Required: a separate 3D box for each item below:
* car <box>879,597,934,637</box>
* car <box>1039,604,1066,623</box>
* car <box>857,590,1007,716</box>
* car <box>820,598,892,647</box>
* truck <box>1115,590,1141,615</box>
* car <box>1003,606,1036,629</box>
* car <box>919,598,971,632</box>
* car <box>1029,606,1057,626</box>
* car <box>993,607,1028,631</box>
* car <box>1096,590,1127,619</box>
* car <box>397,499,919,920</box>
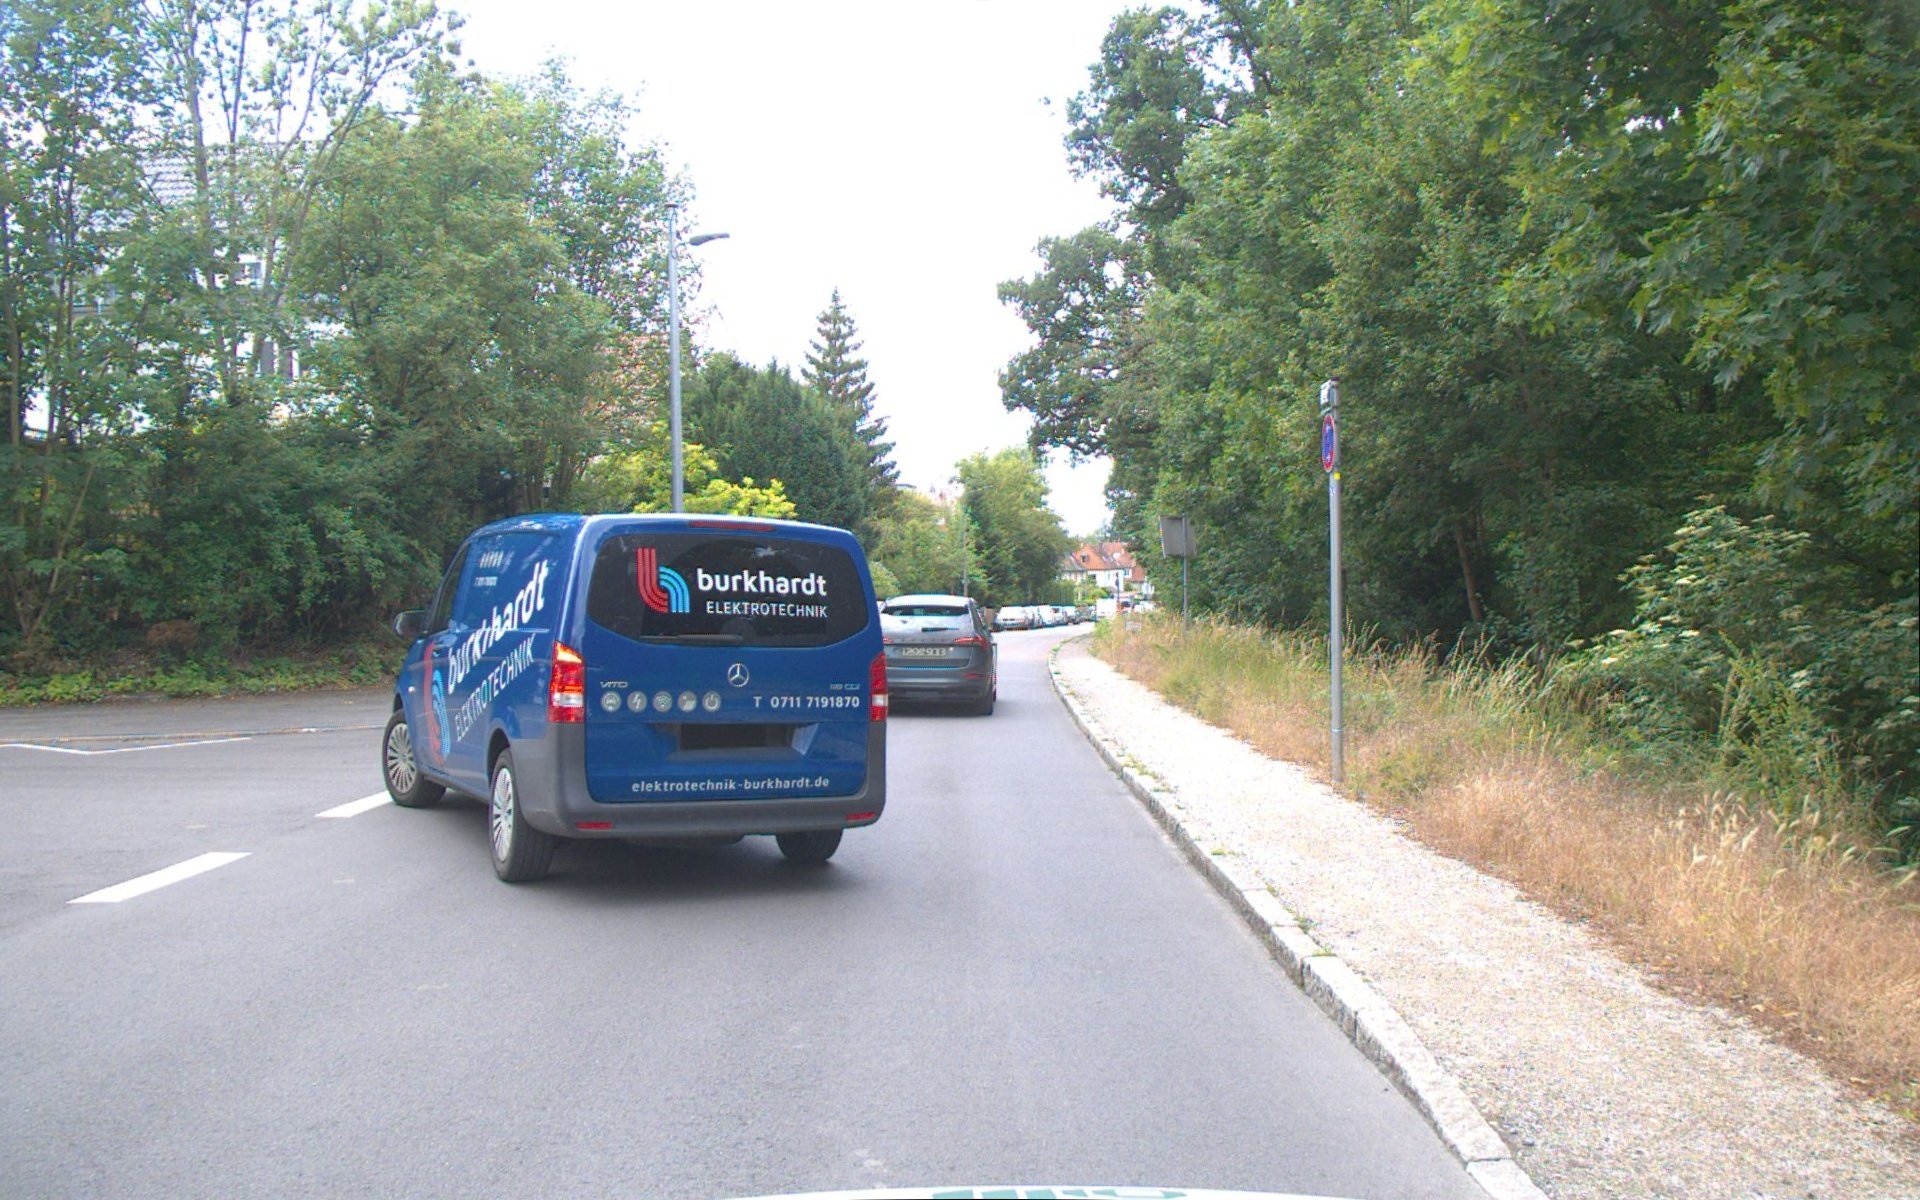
[{"bbox_3d":[-1.955,0.630,61.691,1.712,1.429,4.001,1,0,3],"label":"car"},{"bbox_3d":[7.186,1.067,128.270,1.712,1.429,4.003,1,0,8],"label":"car"},{"bbox_3d":[-0.271,0.635,21.826,1.698,1.472,4.182,1,0,3],"label":"car"},{"bbox_3d":[-3.172,0.686,51.101,1.600,1.429,4.003,1,0,6],"label":"car"},{"bbox_3d":[19.023,0.242,186.800,2.704,2.842,9.275,0,0,8],"label":"truck"},{"bbox_3d":[3.856,1.110,105.784,1.712,1.429,4.003,1,0,8],"label":"car"},{"bbox_3d":[-0.632,0.634,72.408,1.712,1.429,4.003,1,0,8],"label":"car"},{"bbox_3d":[5.961,1.124,118.598,1.712,1.429,4.003,1,0,8],"label":"car"},{"bbox_3d":[3.060,1.120,99.620,1.712,1.429,4.003,1,0,8],"label":"car"},{"bbox_3d":[11.387,0.291,124.059,2.159,2.100,6.139,0,0,7],"label":"car"},{"bbox_3d":[-2.067,0.470,9.963,1.913,1.913,4.491,0,1,-27],"label":"car"}]
